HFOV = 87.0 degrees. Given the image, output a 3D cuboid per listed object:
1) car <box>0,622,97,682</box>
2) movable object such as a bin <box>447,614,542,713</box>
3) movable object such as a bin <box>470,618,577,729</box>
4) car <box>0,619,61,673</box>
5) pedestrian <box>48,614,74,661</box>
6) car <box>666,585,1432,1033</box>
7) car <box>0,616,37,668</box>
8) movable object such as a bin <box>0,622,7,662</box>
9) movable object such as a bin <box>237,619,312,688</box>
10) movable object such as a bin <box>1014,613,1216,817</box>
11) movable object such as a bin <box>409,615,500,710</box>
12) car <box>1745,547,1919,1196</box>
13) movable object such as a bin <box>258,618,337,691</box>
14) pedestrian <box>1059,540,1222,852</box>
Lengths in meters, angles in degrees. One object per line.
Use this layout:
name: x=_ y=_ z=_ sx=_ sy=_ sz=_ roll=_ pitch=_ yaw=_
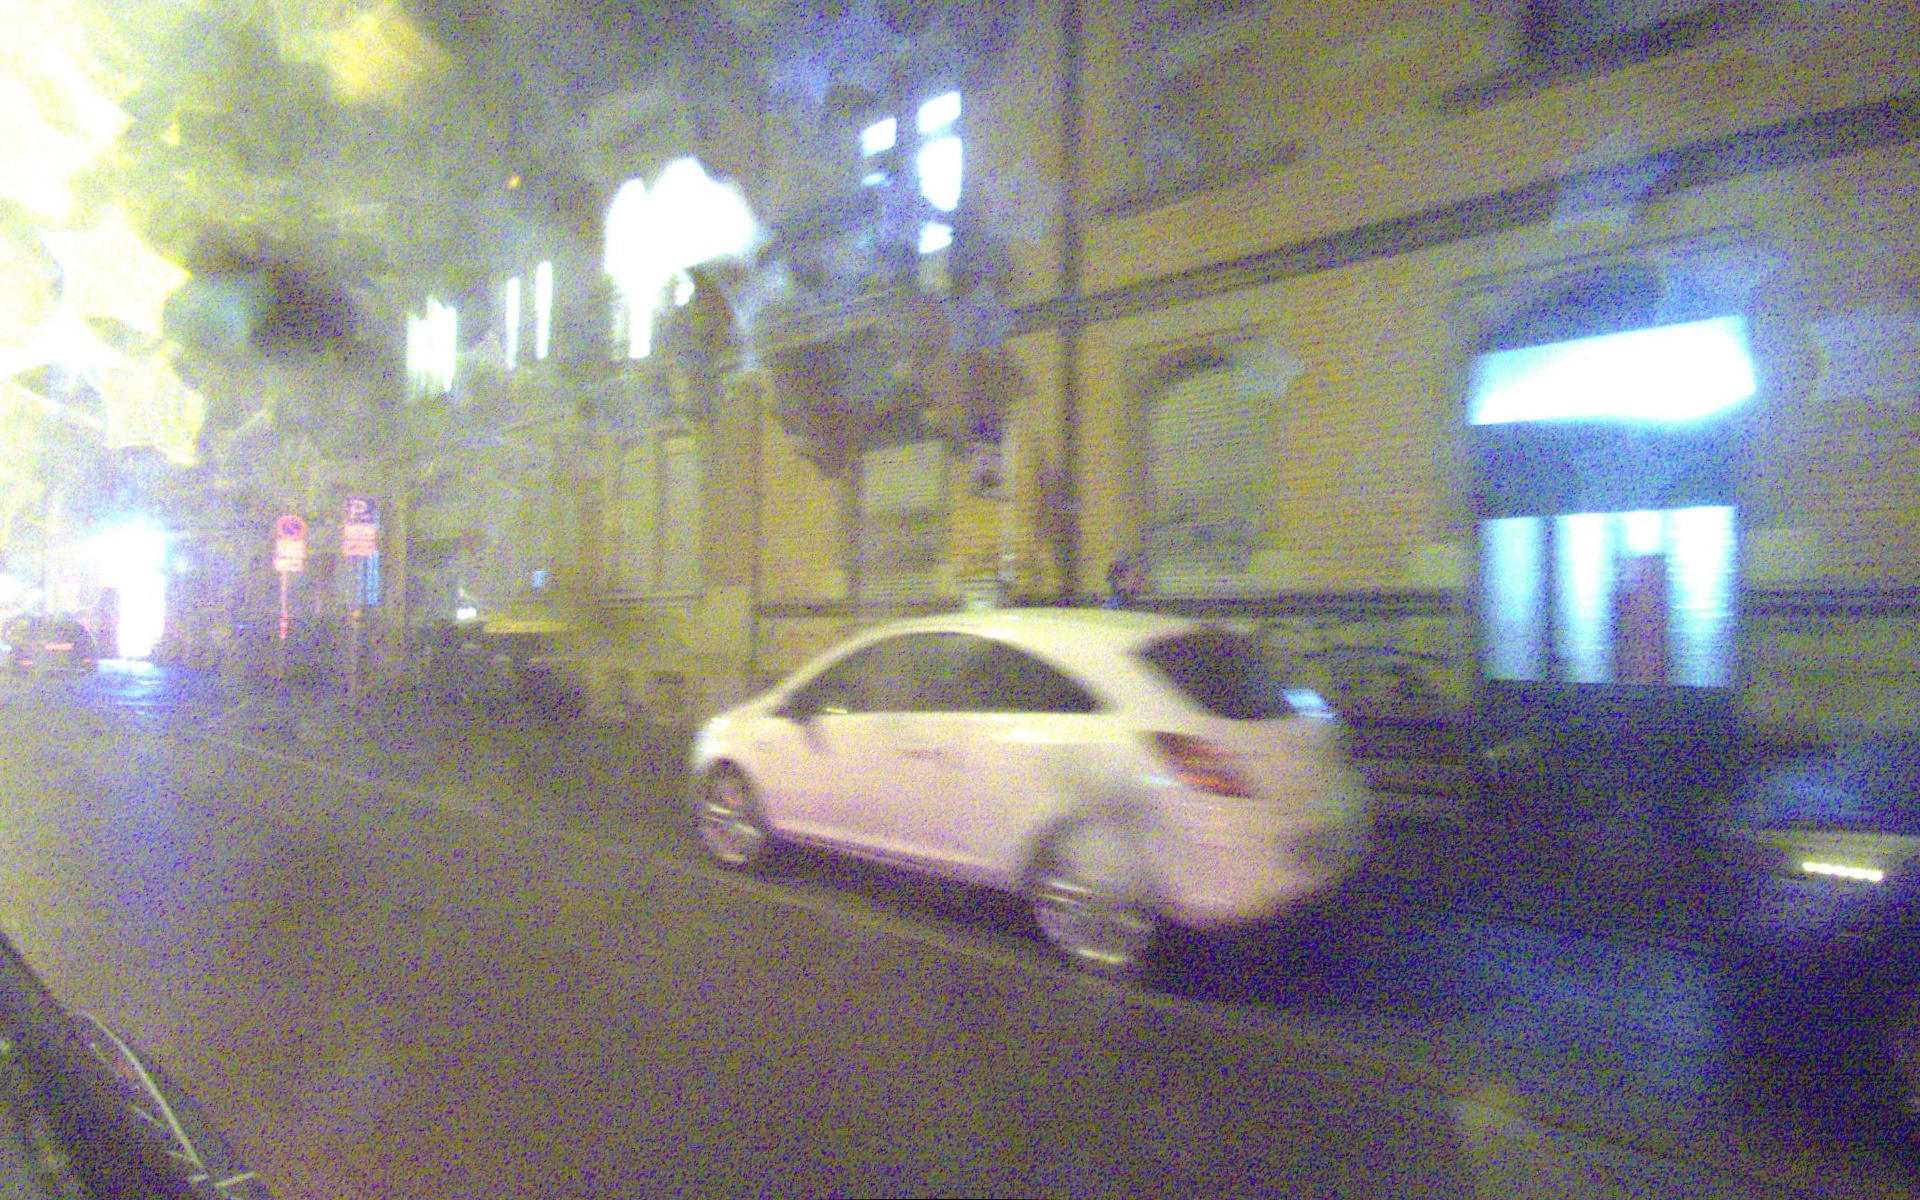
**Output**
car: x=-24.773 y=1.353 z=27.269 sx=4.312 sy=1.466 sz=1.669 roll=-2 pitch=-1 yaw=41
movable object such as a bin: x=-7.177 y=0.945 z=15.601 sx=1.133 sy=1.430 sz=0.964 roll=-1 pitch=0 yaw=43
movable object such as a bin: x=-5.978 y=0.970 z=13.864 sx=1.133 sy=1.409 sz=0.964 roll=-1 pitch=0 yaw=43
car: x=-28.918 y=1.388 z=30.965 sx=4.023 sy=1.564 sz=1.587 roll=-2 pitch=-1 yaw=41
pedestrian: x=-34.397 y=1.436 z=38.733 sx=0.549 sy=1.794 sz=0.632 roll=-1 pitch=-2 yaw=41
car: x=0.197 y=0.734 z=5.256 sx=3.792 sy=1.494 sz=1.570 roll=-1 pitch=-1 yaw=42
car: x=-33.220 y=1.434 z=34.926 sx=3.719 sy=1.719 sz=1.587 roll=-1 pitch=-2 yaw=41
movable object such as a bin: x=-35.978 y=1.567 z=37.243 sx=1.151 sy=1.470 sz=1.248 roll=-1 pitch=0 yaw=43
movable object such as a bin: x=-15.079 y=1.159 z=22.268 sx=1.154 sy=1.430 sz=1.128 roll=-1 pitch=0 yaw=43
movable object such as a bin: x=1.206 y=0.825 z=7.898 sx=1.158 sy=1.409 sz=1.036 roll=-1 pitch=0 yaw=43
movable object such as a bin: x=-8.145 y=0.973 z=16.308 sx=1.133 sy=1.430 sz=0.964 roll=-1 pitch=0 yaw=43
car: x=4.195 y=0.633 z=2.040 sx=4.070 sy=1.569 sz=1.640 roll=-1 pitch=-1 yaw=38
movable object such as a bin: x=-13.864 y=1.109 z=21.177 sx=1.248 sy=1.430 sz=1.128 roll=-1 pitch=0 yaw=43
pedestrian: x=1.145 y=0.562 z=6.431 sx=0.794 sy=1.834 sz=0.585 roll=-1 pitch=0 yaw=41
